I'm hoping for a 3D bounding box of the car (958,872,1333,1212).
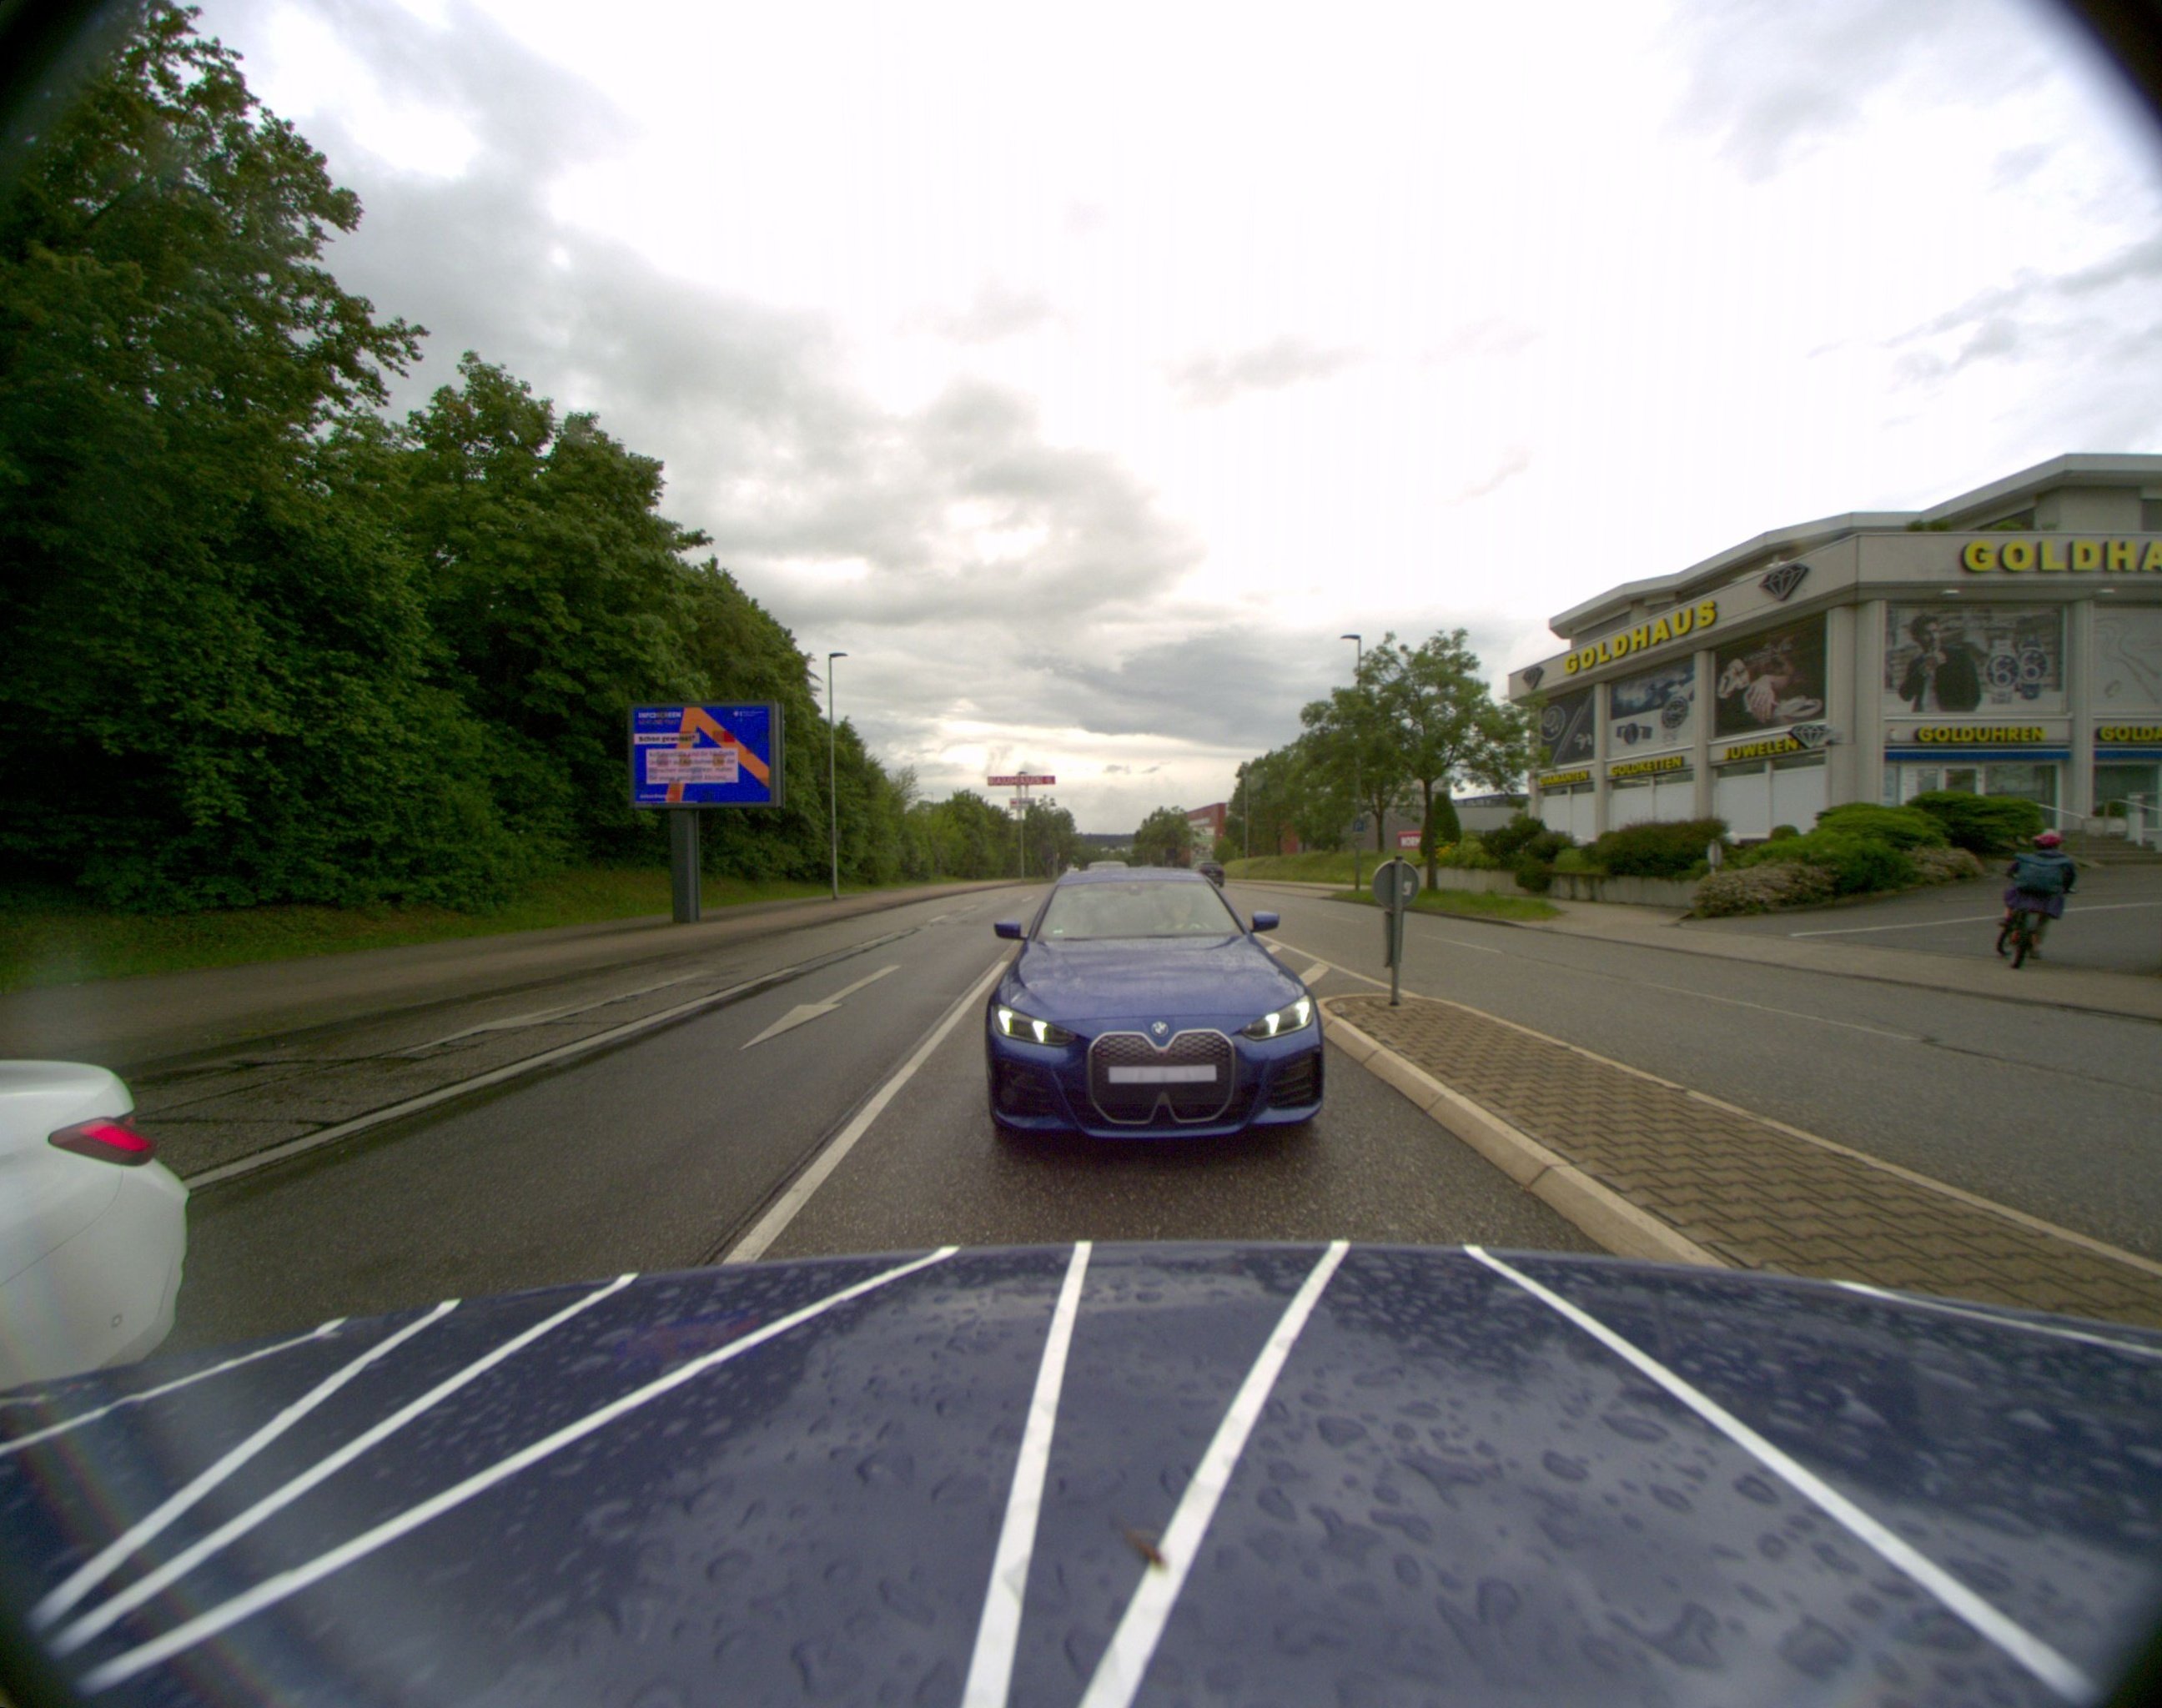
[{"bbox_3d":[0.289,0.965,5.985,1.784,1.448,4.596,-2,1,-1],"label":"car"}]

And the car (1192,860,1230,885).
[{"bbox_3d":[8.491,1.235,49.976,1.998,1.586,4.002,0,-2,4],"label":"car"}]

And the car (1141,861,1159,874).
[{"bbox_3d":[8.921,1.791,97.824,1.998,1.586,4.001,0,-2,1],"label":"car"}]

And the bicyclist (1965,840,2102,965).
[{"bbox_3d":[12.189,0.607,9.770,1.029,1.434,0.908,-7,0,-45],"label":"bicyclist"}]

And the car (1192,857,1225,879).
[{"bbox_3d":[11.651,1.327,69.789,2.350,1.879,4.546,0,-2,1],"label":"car"}]

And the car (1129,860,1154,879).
[{"bbox_3d":[5.453,1.432,68.693,1.998,1.586,4.001,0,-2,1],"label":"car"}]

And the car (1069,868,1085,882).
[{"bbox_3d":[-0.520,2.692,98.686,1.998,1.717,4.317,-1,0,1],"label":"car"}]

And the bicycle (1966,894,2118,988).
[{"bbox_3d":[12.237,1.067,9.765,2.297,0.810,0.908,-6,0,-45],"label":"bicycle"}]

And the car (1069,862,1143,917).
[{"bbox_3d":[0.761,1.021,23.237,1.998,1.455,4.368,-2,0,2],"label":"car"}]
